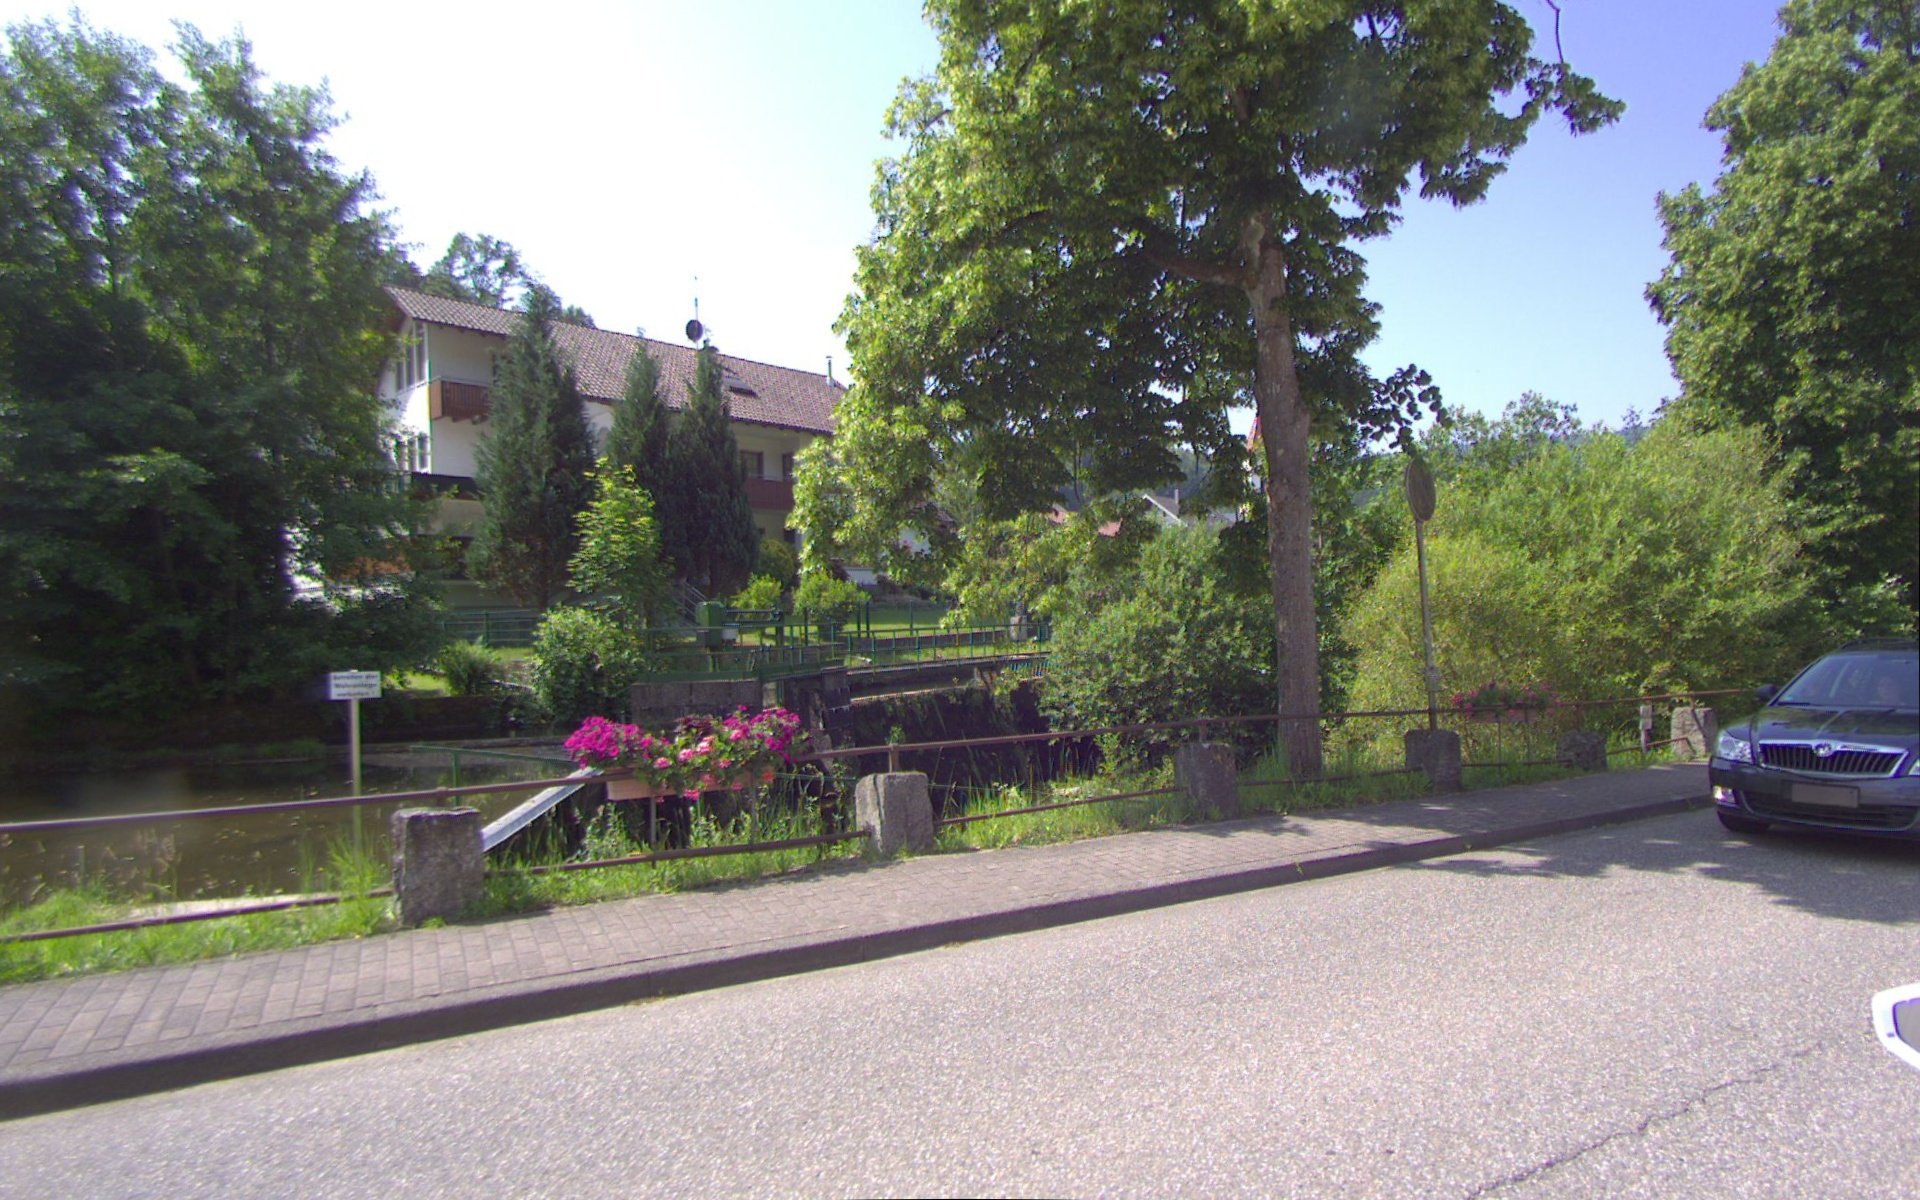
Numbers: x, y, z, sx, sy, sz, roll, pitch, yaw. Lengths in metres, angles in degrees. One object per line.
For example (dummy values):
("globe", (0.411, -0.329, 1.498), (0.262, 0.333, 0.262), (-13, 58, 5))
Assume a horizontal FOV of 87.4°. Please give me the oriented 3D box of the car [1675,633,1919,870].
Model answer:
("car", (7.324, 0.988, 7.549), (4.039, 1.436, 1.659), (1, -3, -30))
